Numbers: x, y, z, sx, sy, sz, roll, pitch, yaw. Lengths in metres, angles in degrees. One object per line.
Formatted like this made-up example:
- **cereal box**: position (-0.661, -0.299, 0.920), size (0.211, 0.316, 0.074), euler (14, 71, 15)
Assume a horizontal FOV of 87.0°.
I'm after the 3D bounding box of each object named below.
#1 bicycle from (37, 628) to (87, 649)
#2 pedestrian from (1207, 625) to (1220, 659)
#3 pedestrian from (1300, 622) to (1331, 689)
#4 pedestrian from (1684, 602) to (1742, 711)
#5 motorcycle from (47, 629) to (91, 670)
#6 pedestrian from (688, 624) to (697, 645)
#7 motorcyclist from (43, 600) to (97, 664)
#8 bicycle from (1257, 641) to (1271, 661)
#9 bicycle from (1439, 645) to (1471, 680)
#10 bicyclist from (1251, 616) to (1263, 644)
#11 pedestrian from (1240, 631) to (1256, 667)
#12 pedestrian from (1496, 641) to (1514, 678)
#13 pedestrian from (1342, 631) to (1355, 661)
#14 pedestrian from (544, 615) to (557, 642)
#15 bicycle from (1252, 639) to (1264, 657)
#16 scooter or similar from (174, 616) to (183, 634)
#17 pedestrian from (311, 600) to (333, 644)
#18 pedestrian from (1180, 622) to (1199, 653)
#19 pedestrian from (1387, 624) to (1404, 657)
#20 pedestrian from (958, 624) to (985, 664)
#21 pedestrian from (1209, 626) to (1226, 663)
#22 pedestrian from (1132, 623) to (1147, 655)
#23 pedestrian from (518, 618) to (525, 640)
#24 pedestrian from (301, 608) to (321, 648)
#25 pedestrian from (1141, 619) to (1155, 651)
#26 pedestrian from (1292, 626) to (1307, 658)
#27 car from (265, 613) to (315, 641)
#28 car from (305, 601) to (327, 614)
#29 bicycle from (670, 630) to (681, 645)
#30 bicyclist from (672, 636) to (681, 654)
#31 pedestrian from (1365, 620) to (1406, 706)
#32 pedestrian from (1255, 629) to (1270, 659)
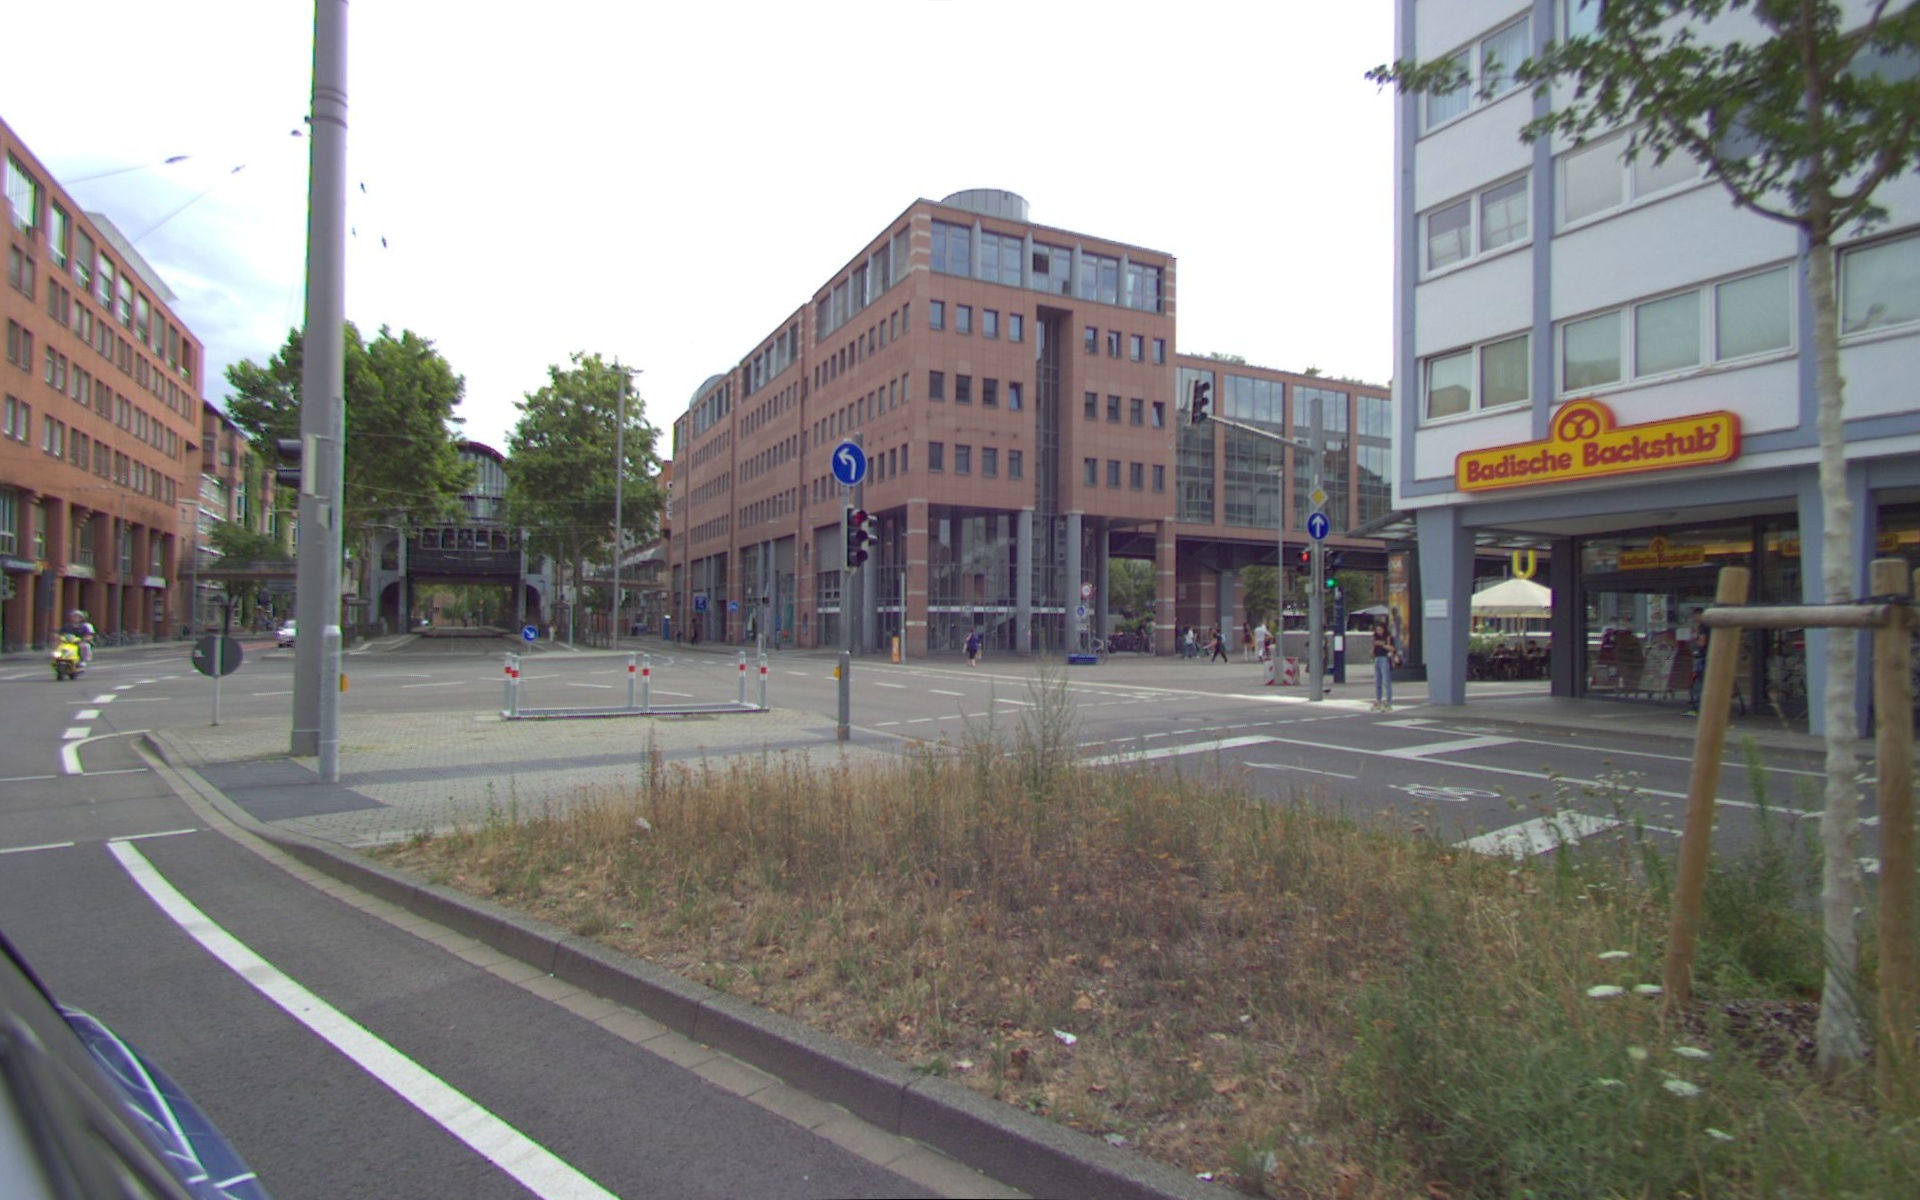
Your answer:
- **bicycle**: position (-45.545, 1.978, 51.343), size (1.828, 1.048, 0.509), euler (1, -2, -26)
- **pedestrian**: position (13.220, 2.193, 52.778), size (0.679, 1.775, 0.496), euler (0, -2, 16)
- **pedestrian**: position (8.680, 1.343, 24.702), size (0.683, 1.606, 0.655), euler (0, -2, 21)
- **pedestrian**: position (12.570, 0.935, 16.893), size (0.469, 1.779, 0.591), euler (1, -3, -27)
- **motorcycle**: position (-21.987, 1.211, 24.996), size (0.561, 0.975, 2.019), euler (2, -2, -35)
- **pedestrian**: position (-20.626, 2.648, 78.132), size (0.520, 1.585, 0.603), euler (2, -2, -26)
- **motorcyclist**: position (-21.973, 0.783, 25.010), size (0.858, 1.528, 1.046), euler (2, -2, -36)
- **bicycle**: position (14.422, 2.405, 48.005), size (0.470, 0.895, 1.774), euler (0, -2, 23)
- **bicycle**: position (14.679, 1.847, 30.000), size (0.473, 0.996, 1.765), euler (-1, -2, 39)
- **bicyclist**: position (16.533, 1.675, 56.290), size (0.543, 1.581, 0.876), euler (0, -2, 23)
- **pedestrian**: position (13.629, 2.308, 47.889), size (0.629, 1.654, 0.463), euler (-1, -2, 25)
- **pedestrian**: position (17.003, 1.845, 31.561), size (0.441, 1.142, 0.529), euler (-1, -2, 35)
- **pedestrian**: position (22.184, 2.612, 57.832), size (0.512, 1.676, 0.465), euler (1, -2, -26)
- **pedestrian**: position (-23.965, 1.643, 59.215), size (0.647, 1.549, 0.560), euler (1, 0, -30)
- **bicycle**: position (16.601, 2.676, 56.407), size (0.470, 0.996, 1.774), euler (0, -2, 23)
- **scooter or similar**: position (-55.679, 1.804, 72.127), size (0.268, 1.267, 0.924), euler (1, -2, -26)
- **pedestrian**: position (-27.607, 0.960, 43.776), size (0.682, 1.889, 0.809), euler (1, -2, -26)
- **pedestrian**: position (11.178, 1.832, 49.308), size (0.644, 1.484, 0.583), euler (1, -2, -26)
- **pedestrian**: position (22.303, 2.090, 51.838), size (0.512, 1.676, 0.583), euler (1, -2, -26)
- **pedestrian**: position (0.433, 1.657, 38.471), size (0.785, 1.484, 0.687), euler (1, -2, -26)
- **pedestrian**: position (11.137, 1.928, 43.740), size (0.498, 1.589, 0.522), euler (1, -2, -24)
- **pedestrian**: position (9.597, 2.076, 54.084), size (0.512, 1.676, 0.583), euler (1, -2, -26)
- **pedestrian**: position (-35.927, 2.343, 82.896), size (0.474, 1.784, 0.483), euler (2, -2, -34)
- **pedestrian**: position (-29.171, 1.253, 45.515), size (0.527, 1.805, 0.578), euler (1, -2, -6)
- **pedestrian**: position (9.888, 1.829, 53.304), size (0.579, 1.676, 0.515), euler (-1, -2, 30)
- **pedestrian**: position (17.901, 2.224, 53.361), size (0.512, 1.676, 0.583), euler (1, -2, -26)
- **car**: position (-40.160, 1.593, 60.763), size (1.924, 1.613, 4.013), euler (1, -2, -26)
- **car**: position (-84.786, 0.974, 133.204), size (1.924, 1.613, 4.013), euler (1, -2, -26)
- **bicycle**: position (-21.801, 2.896, 77.575), size (0.538, 1.126, 1.595), euler (1, -2, -26)
- **bicyclist**: position (-21.672, 3.419, 77.304), size (0.542, 1.391, 0.740), euler (2, -2, -27)
- **pedestrian**: position (7.982, 1.168, 18.980), size (0.492, 1.571, 0.519), euler (2, -2, -33)
- **pedestrian**: position (14.282, 2.077, 47.738), size (0.628, 1.386, 0.858), euler (0, -2, 22)
